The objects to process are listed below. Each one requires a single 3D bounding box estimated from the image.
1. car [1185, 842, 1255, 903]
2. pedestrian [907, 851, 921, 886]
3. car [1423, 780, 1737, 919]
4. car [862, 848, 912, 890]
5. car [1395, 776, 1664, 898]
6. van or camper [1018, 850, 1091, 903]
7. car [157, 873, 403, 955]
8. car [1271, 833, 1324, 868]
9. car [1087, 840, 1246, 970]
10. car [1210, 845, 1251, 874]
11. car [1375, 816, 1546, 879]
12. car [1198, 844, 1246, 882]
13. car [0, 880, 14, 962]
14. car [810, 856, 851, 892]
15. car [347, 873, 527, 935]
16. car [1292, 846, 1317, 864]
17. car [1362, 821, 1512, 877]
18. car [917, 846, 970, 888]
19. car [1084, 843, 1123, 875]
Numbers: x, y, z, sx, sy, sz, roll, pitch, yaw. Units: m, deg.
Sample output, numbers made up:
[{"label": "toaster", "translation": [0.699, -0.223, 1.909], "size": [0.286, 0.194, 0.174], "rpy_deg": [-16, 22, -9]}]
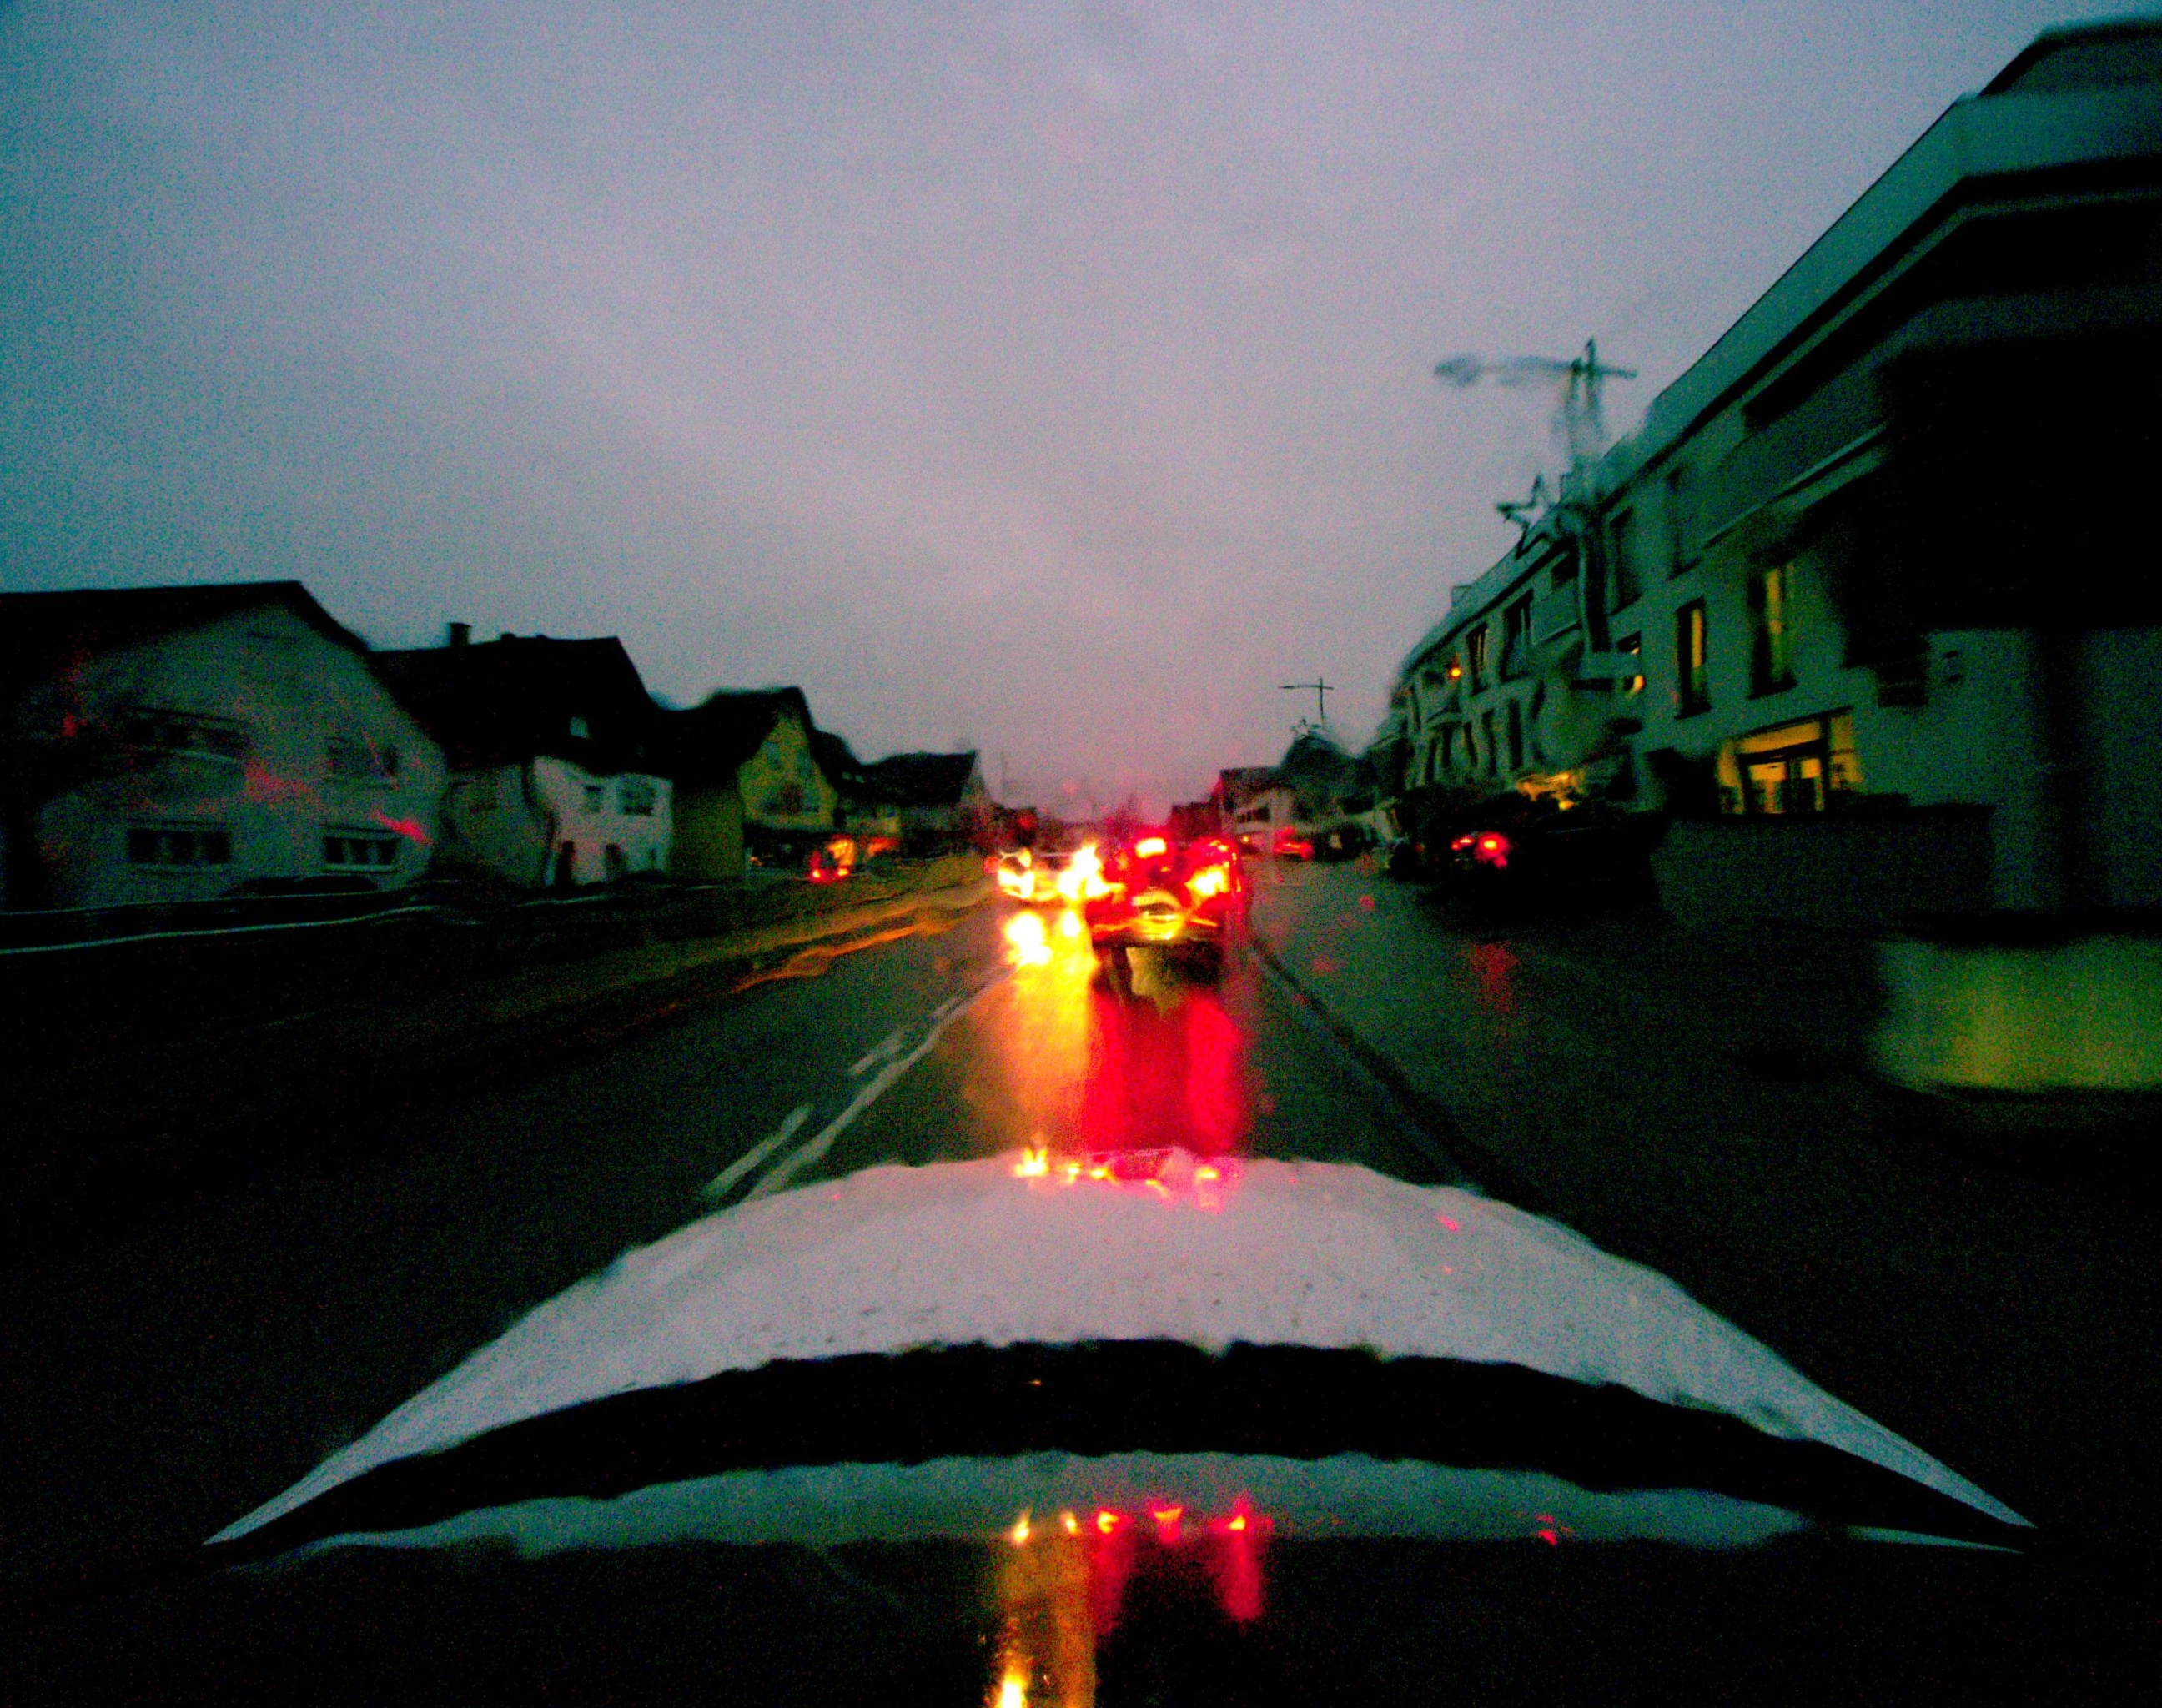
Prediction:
[{"label": "car", "translation": [3.759, 0.445, 22.091], "size": [1.672, 1.453, 4.011], "rpy_deg": [-2, 0, 9]}, {"label": "pedestrian", "translation": [-8.416, 0.724, 41.047], "size": [0.497, 1.701, 0.708], "rpy_deg": [-4, 0, -18]}, {"label": "car", "translation": [8.453, -0.077, 14.082], "size": [4.162, 1.638, 1.804], "rpy_deg": [-9, 0, 1]}, {"label": "car", "translation": [-9.760, 0.723, 40.804], "size": [2.043, 1.925, 4.032], "rpy_deg": [-2, 0, -18]}, {"label": "car", "translation": [9.509, -0.323, 17.657], "size": [4.538, 1.920, 1.954], "rpy_deg": [-7, -2, 7]}, {"label": "van or camper", "translation": [-0.703, 0.598, 23.845], "size": [1.554, 1.355, 3.429], "rpy_deg": [-3, 0, 7]}, {"label": "car", "translation": [-20.111, 1.430, 20.756], "size": [1.903, 1.682, 4.221], "rpy_deg": [-2, 0, 3]}, {"label": "car", "translation": [14.704, -0.274, 55.096], "size": [2.137, 1.991, 4.528], "rpy_deg": [-5, -1, 31]}, {"label": "car", "translation": [1.333, 0.606, 12.258], "size": [1.954, 1.594, 4.322], "rpy_deg": [-1, 1, 7]}, {"label": "car", "translation": [7.860, 0.245, 43.144], "size": [1.982, 1.391, 4.010], "rpy_deg": [-2, 0, 8]}, {"label": "car", "translation": [11.254, -0.176, 24.360], "size": [4.188, 1.460, 1.794], "rpy_deg": [-5, -1, 3]}, {"label": "car", "translation": [5.699, 0.324, 33.203], "size": [1.804, 1.412, 4.010], "rpy_deg": [-1, 1, 9]}, {"label": "car", "translation": [-24.332, 1.507, 16.073], "size": [3.974, 1.694, 1.864], "rpy_deg": [-3, 0, 0]}, {"label": "car", "translation": [-12.651, 0.960, 41.024], "size": [1.827, 1.613, 4.032], "rpy_deg": [-2, 0, -18]}, {"label": "car", "translation": [-19.745, 1.465, 25.237], "size": [1.901, 1.562, 4.225], "rpy_deg": [-2, 0, 6]}, {"label": "car", "translation": [19.262, 0.065, 70.323], "size": [1.556, 1.413, 3.610], "rpy_deg": [-6, -1, 9]}, {"label": "car", "translation": [11.894, -0.155, 27.431], "size": [4.188, 1.460, 1.794], "rpy_deg": [-5, -1, 3]}, {"label": "car", "translation": [-7.061, 0.628, 41.474], "size": [2.043, 1.925, 4.032], "rpy_deg": [-2, 0, -18]}, {"label": "car", "translation": [1.309, 0.235, 45.362], "size": [1.728, 1.653, 4.008], "rpy_deg": [-2, 0, 7]}]
